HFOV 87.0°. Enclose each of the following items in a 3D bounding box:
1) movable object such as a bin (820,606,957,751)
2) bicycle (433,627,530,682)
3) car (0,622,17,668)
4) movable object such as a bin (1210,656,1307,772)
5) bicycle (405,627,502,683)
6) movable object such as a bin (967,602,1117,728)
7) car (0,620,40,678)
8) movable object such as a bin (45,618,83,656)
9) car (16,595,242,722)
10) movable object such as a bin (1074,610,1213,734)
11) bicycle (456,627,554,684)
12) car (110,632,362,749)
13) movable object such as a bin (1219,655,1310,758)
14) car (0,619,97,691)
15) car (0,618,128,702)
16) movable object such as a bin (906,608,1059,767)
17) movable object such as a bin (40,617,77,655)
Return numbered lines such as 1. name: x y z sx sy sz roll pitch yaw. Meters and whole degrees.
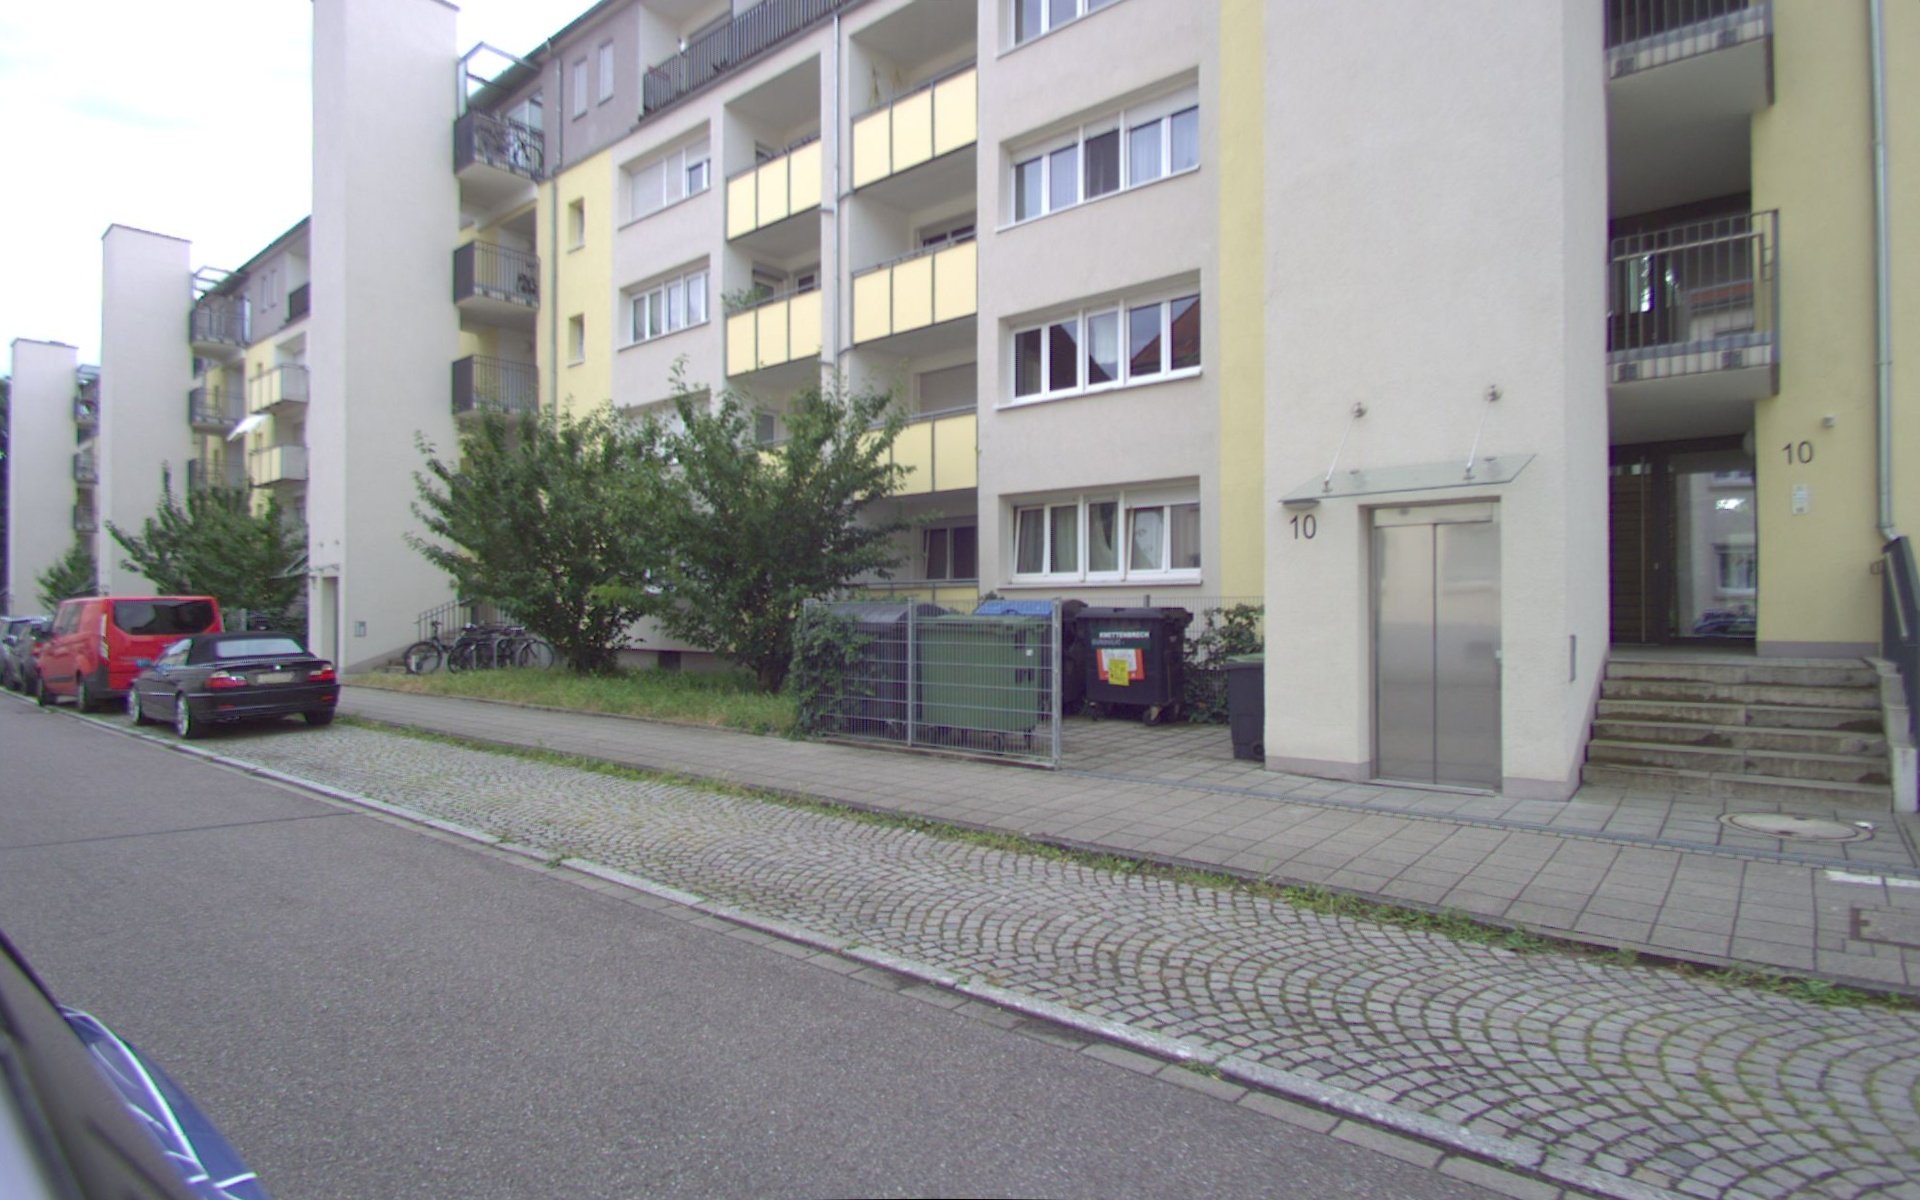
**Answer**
1. movable object such as a bin: -0.773 0.790 10.807 1.288 1.440 0.795 -1 -1 43
2. bicycle: -10.345 1.151 21.922 0.570 1.127 1.815 -1 -1 41
3. car: -31.841 1.450 32.642 3.853 1.449 1.627 -1 0 40
4. movable object such as a bin: 2.720 1.011 9.215 0.651 0.972 0.629 -1 -2 40
5. bicycle: -11.047 1.177 22.128 0.604 1.127 1.817 -1 -1 38
6. movable object such as a bin: 1.046 0.770 12.787 1.370 1.475 1.339 -1 -1 39
7. car: -27.653 1.385 28.913 3.894 1.542 1.635 -1 0 42
8. movable object such as a bin: -36.186 1.482 40.861 1.313 1.458 0.991 -1 -1 41
9. car: -15.150 0.960 18.363 4.915 1.968 2.131 -1 0 38
10. movable object such as a bin: 2.150 0.801 11.892 1.287 1.350 0.969 -1 -1 40
11. bicycle: -9.567 1.150 21.332 1.813 1.127 0.571 1 -2 -44
12. car: -10.453 1.171 14.495 4.357 1.333 1.852 -1 0 39
13. movable object such as a bin: 2.971 1.014 9.866 0.651 0.929 0.629 -1 -2 40
14. car: -23.257 1.306 25.132 4.855 1.582 1.817 -1 0 38
15. car: -19.499 1.218 21.805 4.051 1.582 1.703 -1 0 40
16. movable object such as a bin: 0.206 0.803 9.919 1.288 1.440 0.794 -1 -1 44
17. movable object such as a bin: -37.191 1.469 41.748 1.313 1.512 0.991 -1 -1 41
